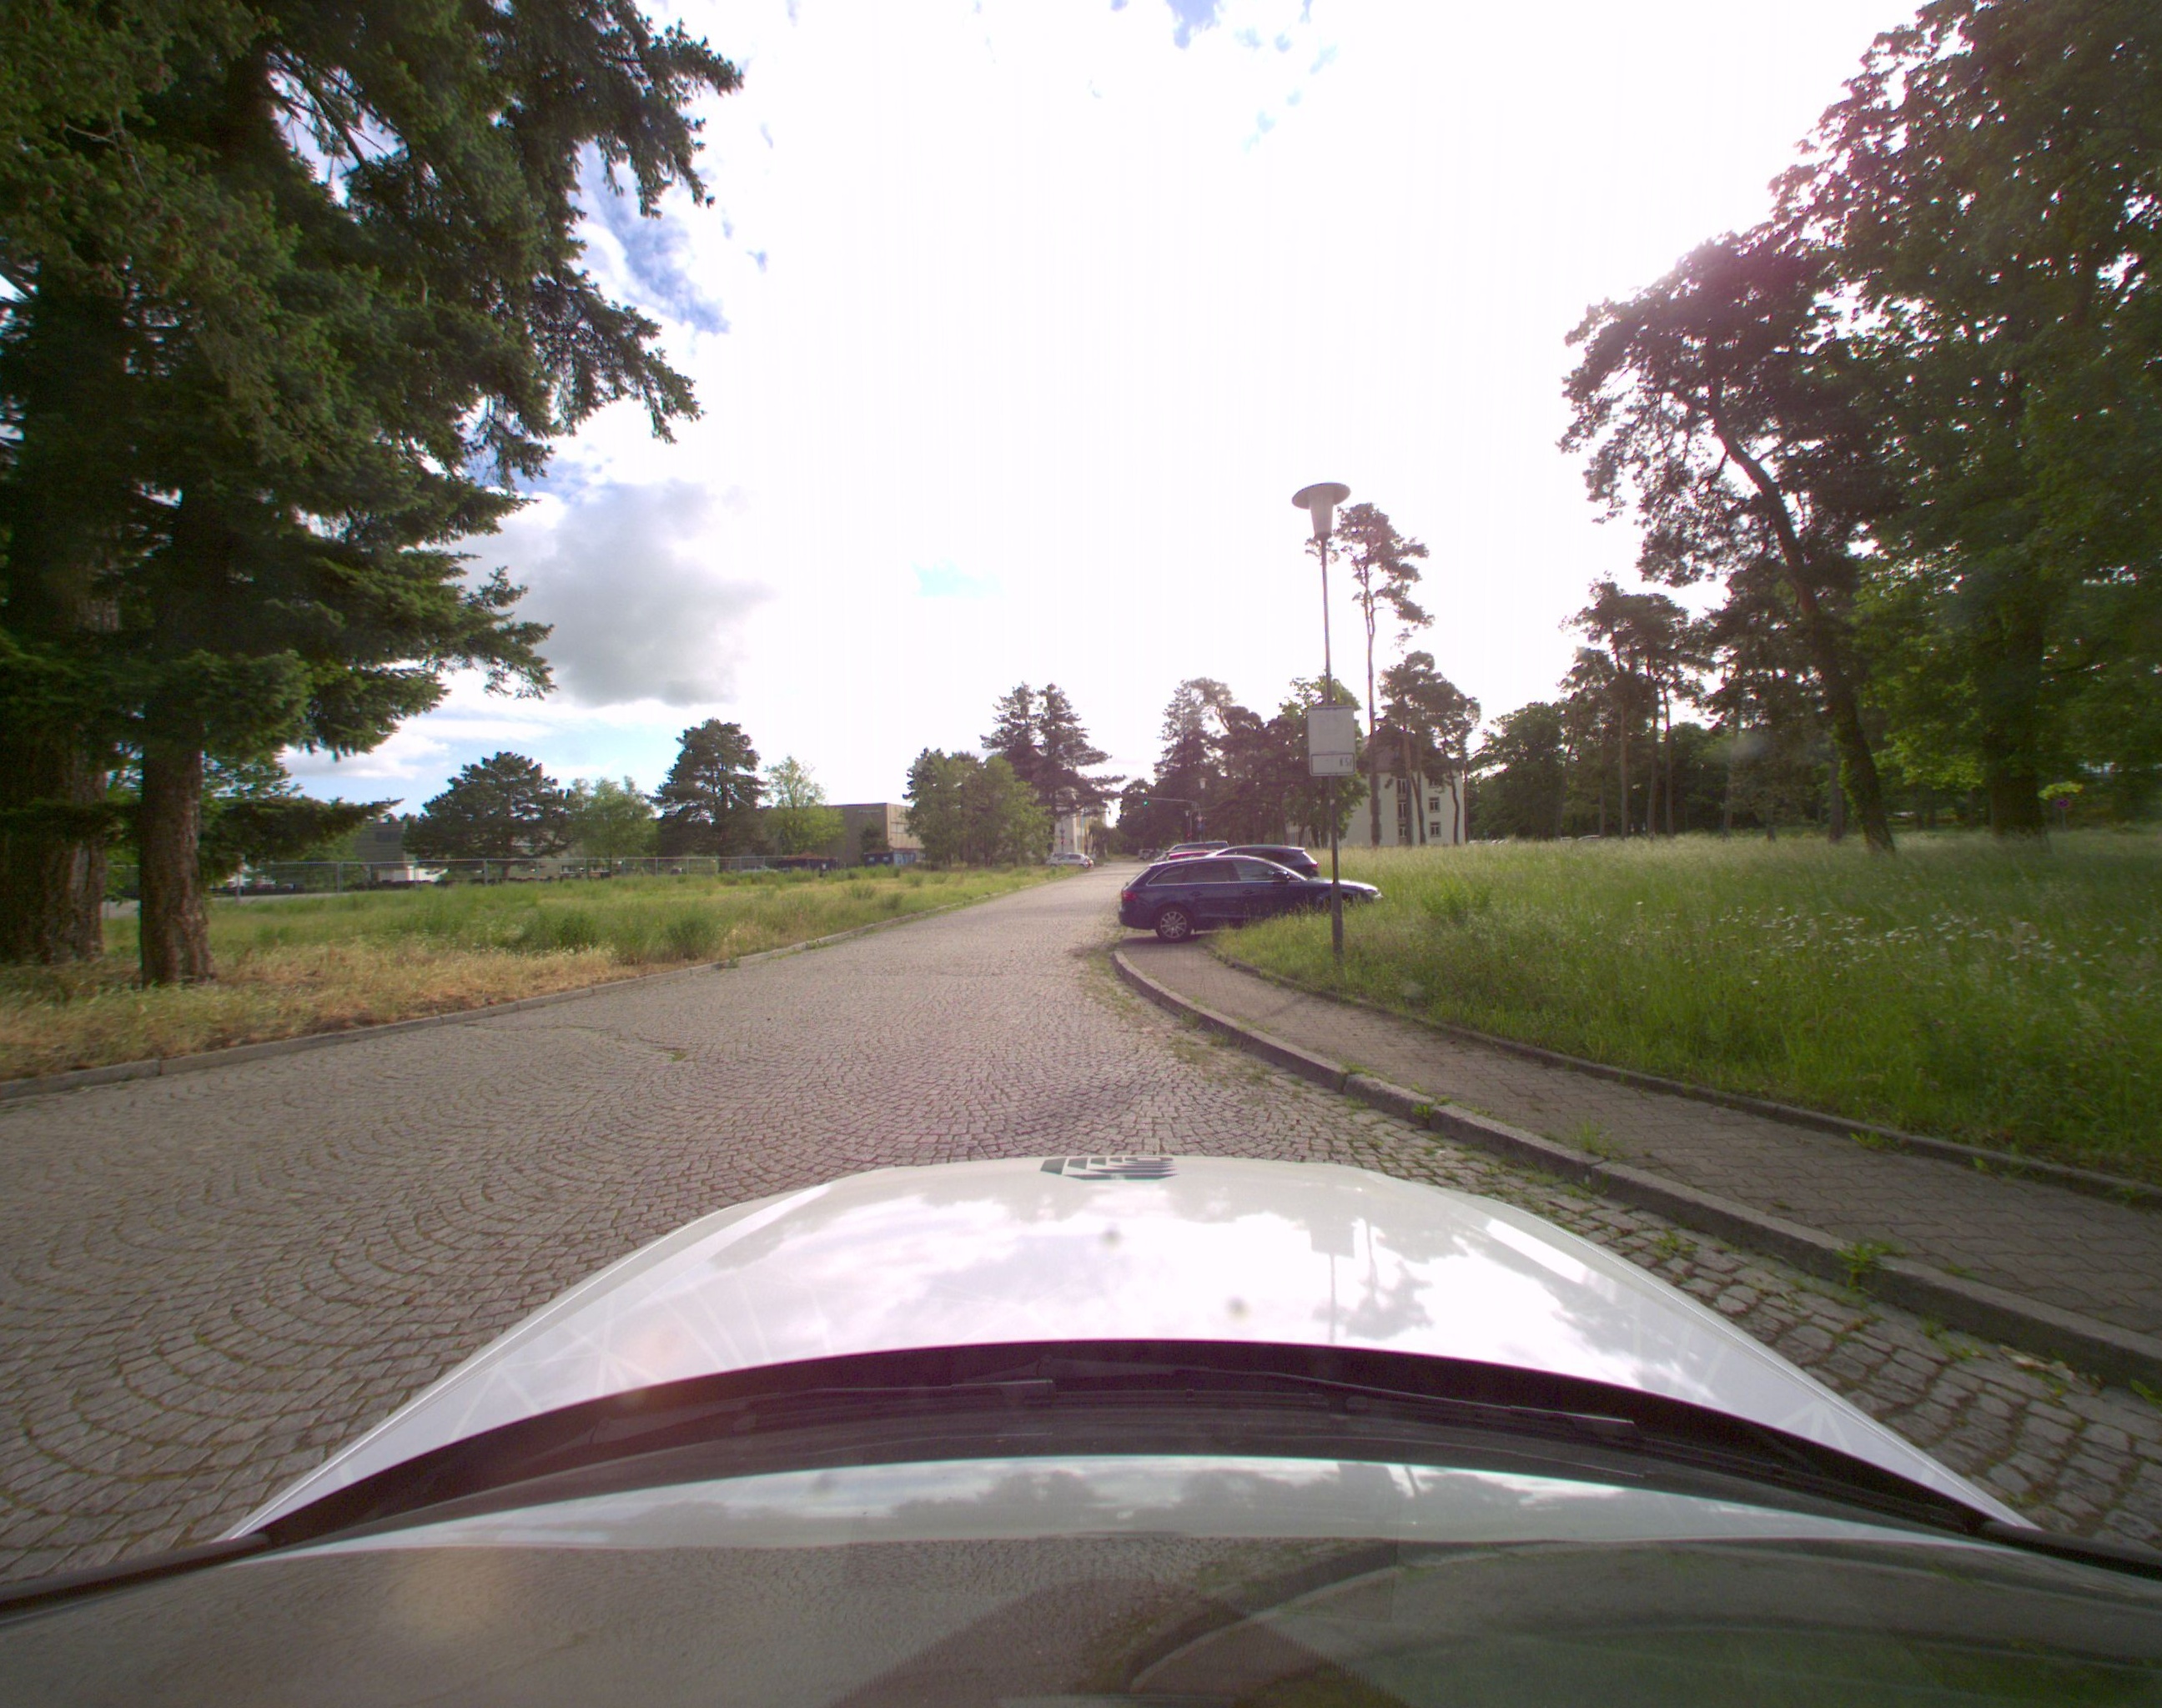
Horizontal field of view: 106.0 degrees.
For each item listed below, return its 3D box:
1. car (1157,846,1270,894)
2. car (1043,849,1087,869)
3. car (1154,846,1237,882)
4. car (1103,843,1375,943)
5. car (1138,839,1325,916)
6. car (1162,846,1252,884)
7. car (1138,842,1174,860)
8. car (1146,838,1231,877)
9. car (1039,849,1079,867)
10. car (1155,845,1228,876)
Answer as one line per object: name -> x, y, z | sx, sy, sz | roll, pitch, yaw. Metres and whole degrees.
car -> 4.734, 0.560, 29.487 | 3.865, 1.478, 1.674 | -3, 0, 5
car -> -1.384, 0.440, 72.409 | 3.705, 1.437, 1.627 | -4, 1, 2
car -> 5.578, 0.497, 40.027 | 3.889, 1.603, 1.823 | -2, 0, 3
car -> 2.737, 0.669, 14.489 | 4.405, 1.480, 1.686 | -3, 0, 9
car -> 3.455, 0.522, 19.245 | 4.119, 1.573, 1.793 | -3, 1, 4
car -> 5.746, 0.502, 37.343 | 3.921, 1.520, 1.710 | -3, -1, 6
car -> 12.892, -0.527, 139.532 | 5.761, 2.562, 2.770 | -5, 1, 0
car -> 6.386, 0.202, 48.868 | 4.799, 1.865, 2.164 | -5, 1, 4
car -> -2.100, 0.390, 77.821 | 3.710, 1.437, 1.625 | -4, 1, -2
car -> 6.233, 0.350, 46.131 | 3.902, 1.392, 1.745 | -5, 1, 4
